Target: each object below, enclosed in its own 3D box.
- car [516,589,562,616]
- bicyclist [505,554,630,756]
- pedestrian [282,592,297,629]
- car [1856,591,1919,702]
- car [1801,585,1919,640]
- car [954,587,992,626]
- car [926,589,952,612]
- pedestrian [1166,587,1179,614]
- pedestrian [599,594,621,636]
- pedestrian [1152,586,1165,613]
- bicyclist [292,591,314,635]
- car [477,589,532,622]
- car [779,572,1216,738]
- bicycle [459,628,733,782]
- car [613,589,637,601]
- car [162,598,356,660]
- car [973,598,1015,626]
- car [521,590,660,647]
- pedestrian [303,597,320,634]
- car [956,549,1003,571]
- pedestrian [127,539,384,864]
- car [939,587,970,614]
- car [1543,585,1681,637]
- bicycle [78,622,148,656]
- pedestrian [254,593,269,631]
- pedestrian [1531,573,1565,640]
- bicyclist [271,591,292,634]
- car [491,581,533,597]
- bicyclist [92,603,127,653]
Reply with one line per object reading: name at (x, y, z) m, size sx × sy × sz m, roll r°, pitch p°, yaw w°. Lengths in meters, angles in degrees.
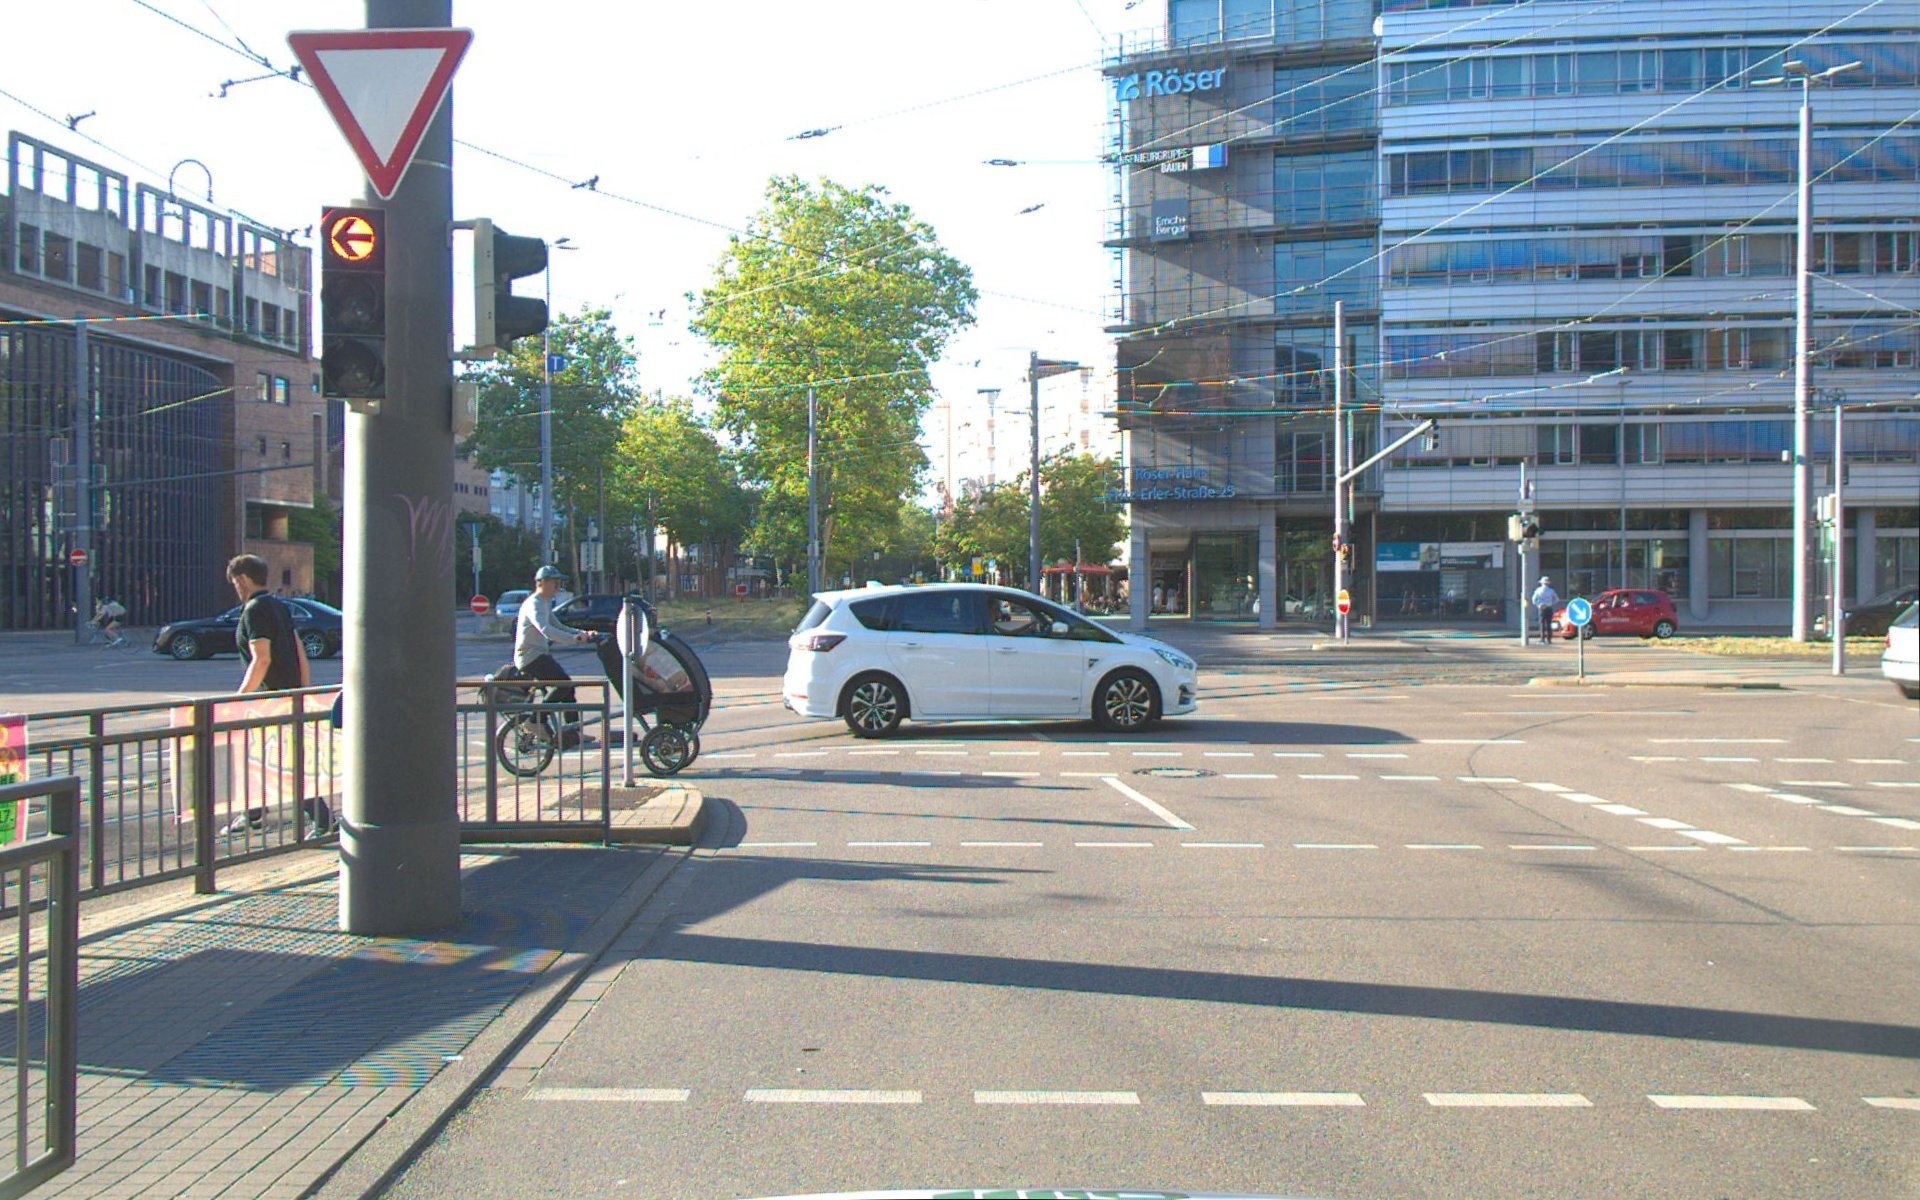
car at (-24.087, 0.131, 94.763) m, size 1.955 × 1.534 × 3.994 m, roll -1°, pitch 0°, yaw -6°
bicyclist at (-3.406, 0.466, 14.405) m, size 0.885 × 1.710 × 0.691 m, roll -1°, pitch 0°, yaw 2°
pedestrian at (-33.868, 0.513, 83.566) m, size 0.479 × 1.842 × 0.546 m, roll -1°, pitch 0°, yaw 6°
car at (14.638, 0.605, 22.600) m, size 3.830 × 1.459 × 1.825 m, roll 0°, pitch 0°, yaw -2°
car at (25.254, 0.324, 44.693) m, size 4.151 × 1.417 × 1.796 m, roll -1°, pitch 0°, yaw 4°
car at (0.679, 0.340, 89.706) m, size 1.953 × 2.026 × 3.999 m, roll -1°, pitch 0°, yaw -1°
car at (-1.630, 0.056, 126.704) m, size 1.953 × 1.691 × 3.999 m, roll -1°, pitch 0°, yaw -1°
pedestrian at (11.824, 0.042, 92.054) m, size 0.691 × 1.491 × 0.384 m, roll -1°, pitch 0°, yaw 8°
pedestrian at (-13.260, 0.560, 62.691) m, size 0.740 × 1.557 × 0.507 m, roll 1°, pitch 0°, yaw -8°
pedestrian at (11.093, -0.041, 92.402) m, size 0.723 × 1.491 × 0.537 m, roll -1°, pitch 0°, yaw 8°
bicyclist at (-26.007, 0.501, 65.487) m, size 0.582 × 1.705 × 0.788 m, roll -1°, pitch 0°, yaw -7°
car at (-22.188, 0.266, 80.689) m, size 1.955 × 1.534 × 3.994 m, roll -1°, pitch 0°, yaw -6°
car at (0.364, 0.580, 18.853) m, size 4.739 × 1.758 × 1.998 m, roll 0°, pitch 0°, yaw -5°
bicycle at (-3.121, 0.884, 14.378) m, size 2.112 × 1.248 × 1.073 m, roll 0°, pitch 1°, yaw 3°
car at (-43.870, -0.638, 216.677) m, size 1.951 × 1.534 × 4.003 m, roll -1°, pitch 0°, yaw 7°
car at (-17.603, 0.710, 41.691) m, size 4.164 × 1.459 × 1.791 m, roll -1°, pitch 0°, yaw -11°
car at (1.670, 0.588, 82.882) m, size 1.953 × 1.355 × 3.999 m, roll -1°, pitch 0°, yaw -1°
car at (-10.560, 0.523, 47.492) m, size 3.790 × 1.533 × 1.791 m, roll -1°, pitch 0°, yaw -10°
pedestrian at (-32.668, 0.777, 83.328) m, size 0.627 × 1.842 × 0.546 m, roll -1°, pitch 0°, yaw 6°
car at (1.673, -3.373, 141.045) m, size 3.681 × 1.780 × 1.783 m, roll 1°, pitch 0°, yaw 14°
pedestrian at (-4.230, 0.577, 10.038) m, size 1.186 × 1.854 × 1.040 m, roll 0°, pitch 0°, yaw -8°
car at (-0.374, 0.020, 105.006) m, size 1.953 × 1.691 × 3.999 m, roll -1°, pitch 0°, yaw -1°
car at (19.762, 0.332, 50.222) m, size 3.521 × 1.492 × 1.796 m, roll -1°, pitch 0°, yaw 3°
bicycle at (-24.036, 1.101, 46.972) m, size 1.714 × 0.915 × 0.407 m, roll -1°, pitch 0°, yaw -17°
pedestrian at (-34.691, 0.601, 82.178) m, size 0.479 × 1.842 × 0.546 m, roll -1°, pitch 0°, yaw 6°
pedestrian at (15.244, 0.175, 42.856) m, size 0.704 × 1.711 × 0.557 m, roll 1°, pitch 0°, yaw 6°
bicyclist at (-26.750, 0.485, 65.220) m, size 0.582 × 1.705 × 0.788 m, roll -1°, pitch 0°, yaw -7°
car at (-46.680, -1.103, 172.331) m, size 3.948 × 1.579 × 1.589 m, roll 1°, pitch -1°, yaw -32°
bicyclist at (-24.135, 0.791, 46.942) m, size 0.806 × 1.390 × 0.398 m, roll -1°, pitch 0°, yaw -17°
